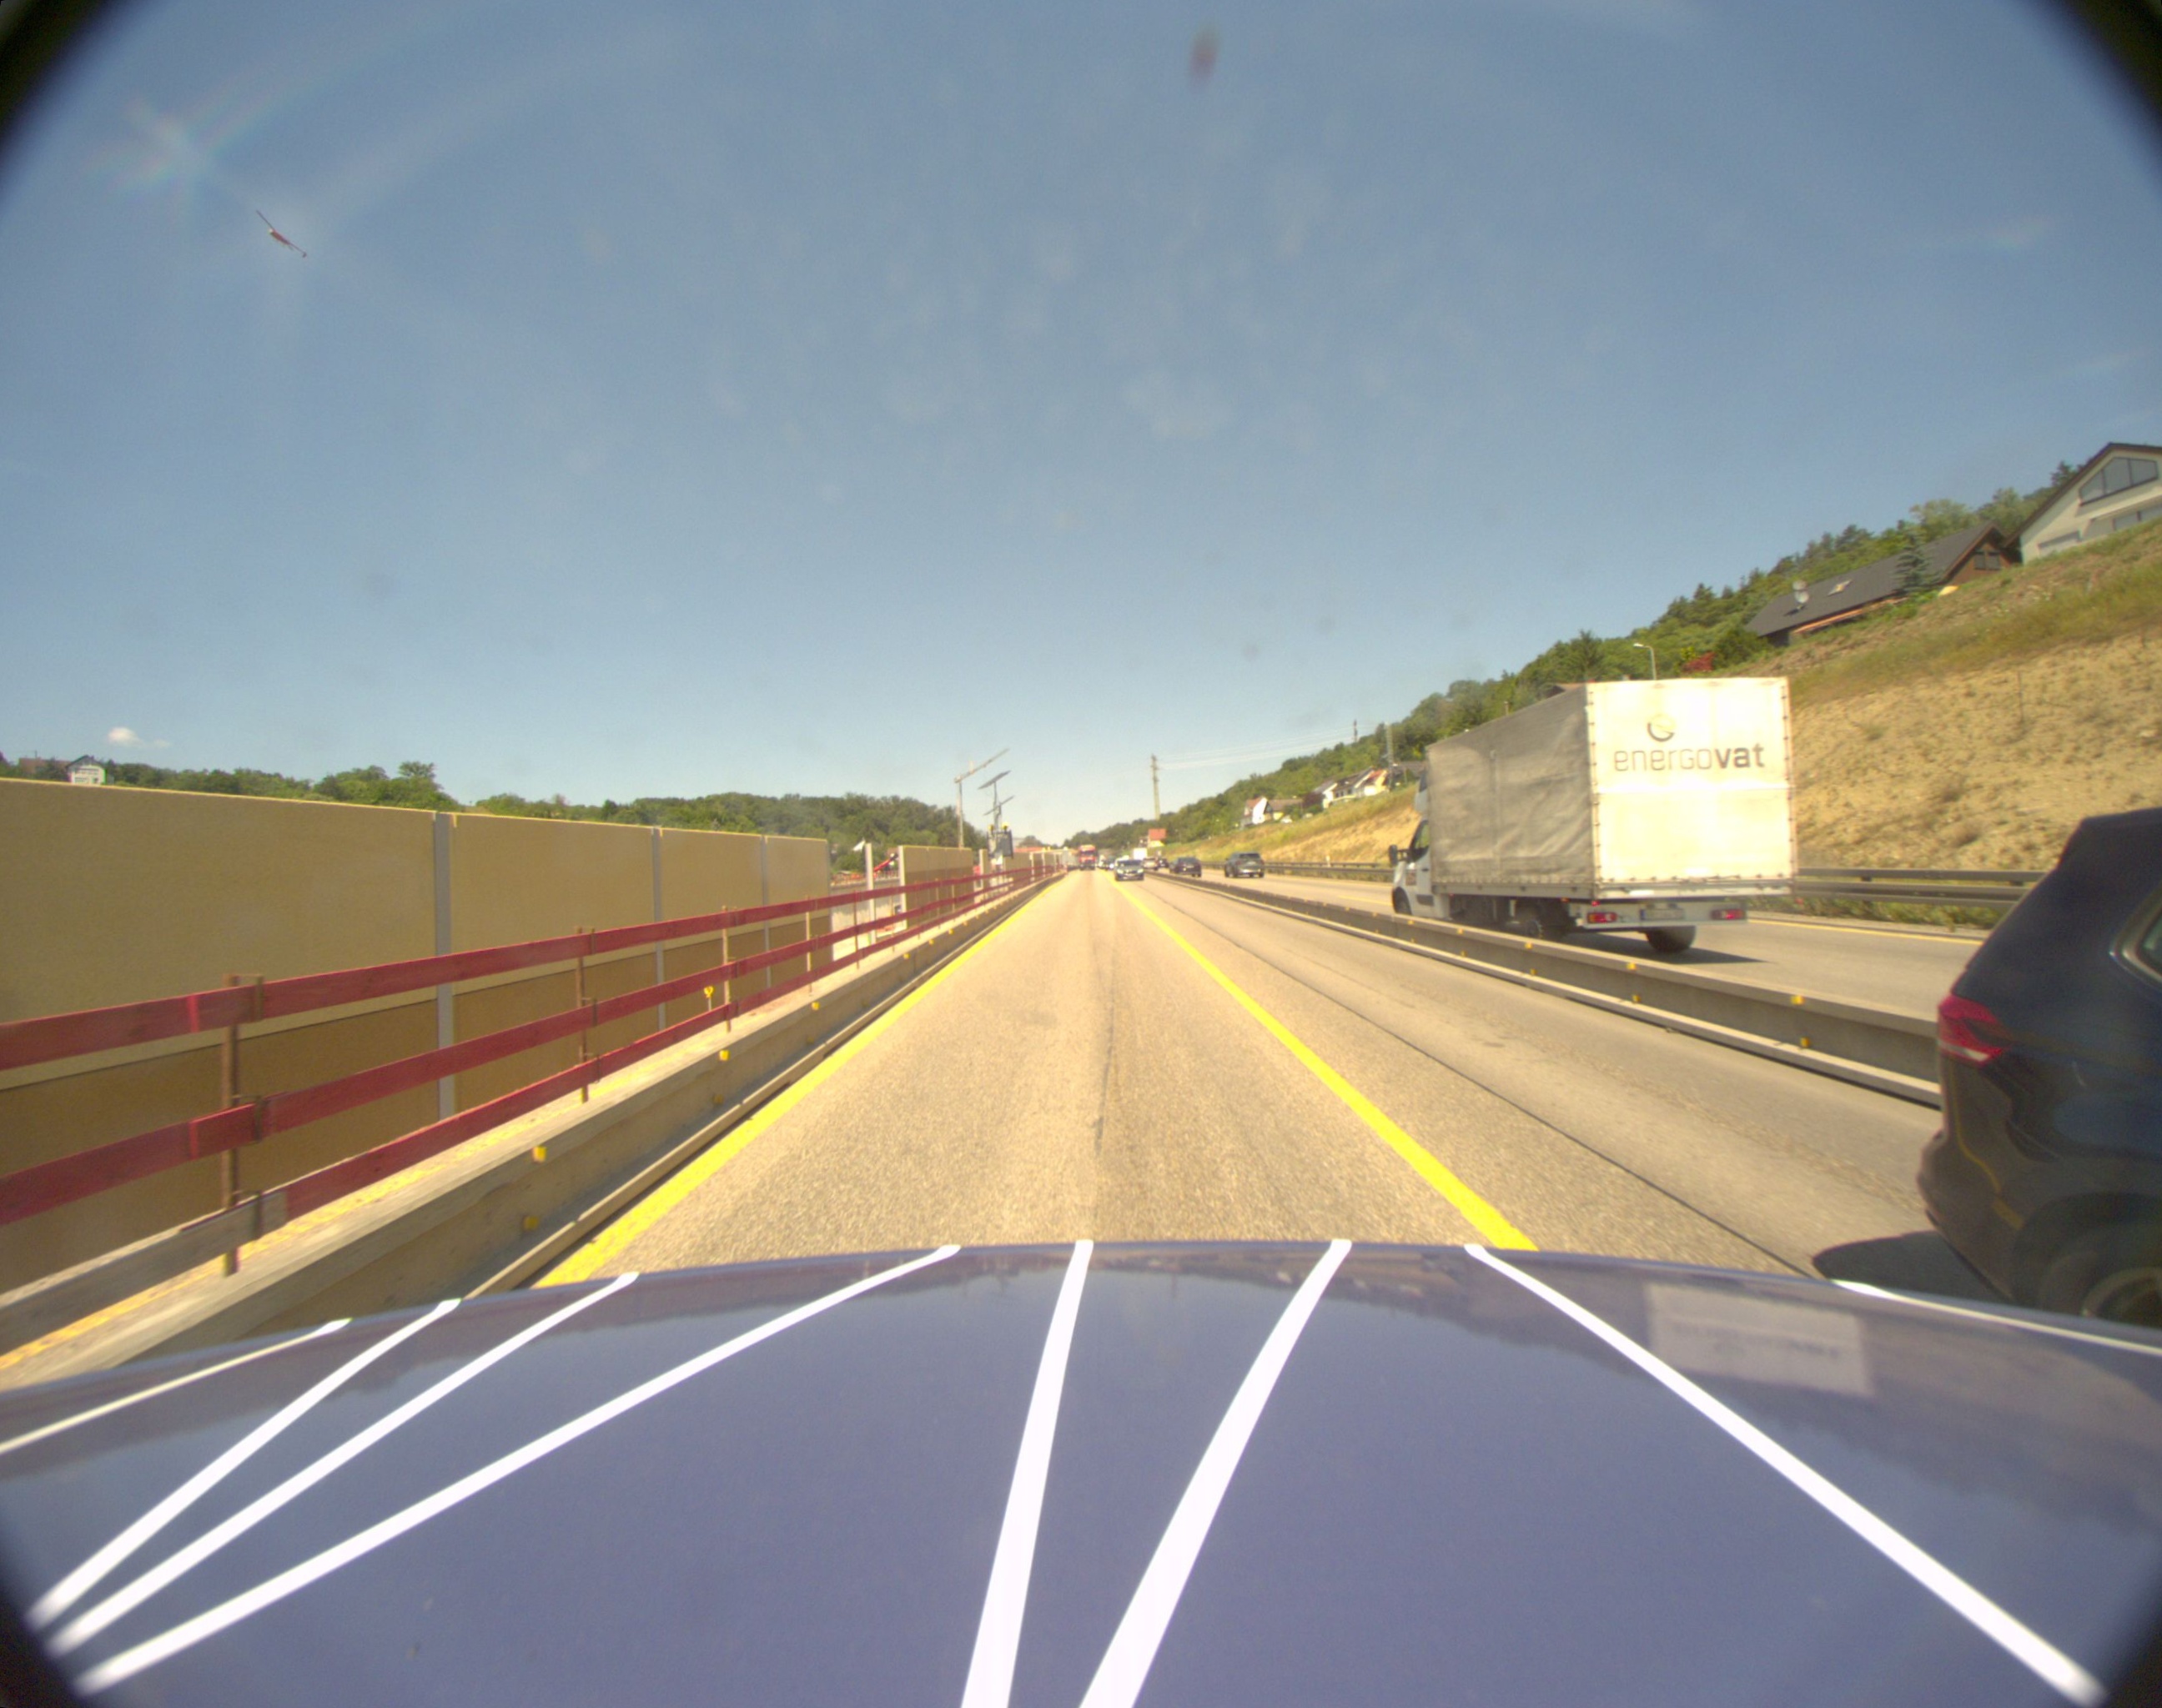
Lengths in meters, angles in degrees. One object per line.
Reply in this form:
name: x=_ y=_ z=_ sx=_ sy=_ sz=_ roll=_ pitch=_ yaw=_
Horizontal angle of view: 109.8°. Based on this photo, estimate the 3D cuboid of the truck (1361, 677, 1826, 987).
truck: x=7.022 y=-0.239 z=12.009 sx=2.544 sy=3.354 sz=7.038 roll=-2 pitch=0 yaw=1

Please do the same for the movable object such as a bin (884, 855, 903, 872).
movable object such as a bin: x=-36.176 y=1.859 z=146.525 sx=2.202 sy=3.065 sz=4.918 roll=-2 pitch=0 yaw=1

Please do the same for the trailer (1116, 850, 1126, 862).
trailer: x=13.546 y=0.836 z=259.259 sx=2.920 sy=3.915 sz=10.528 roll=-2 pitch=-1 yaw=1

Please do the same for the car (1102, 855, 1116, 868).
car: x=3.746 y=1.015 z=102.494 sx=1.780 sy=1.727 sz=4.337 roll=-2 pitch=-1 yaw=1

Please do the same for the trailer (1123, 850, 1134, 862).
trailer: x=12.656 y=0.602 z=204.254 sx=2.619 sy=2.983 sz=6.371 roll=-2 pitch=0 yaw=1

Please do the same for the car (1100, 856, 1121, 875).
car: x=2.744 y=1.077 z=70.994 sx=1.780 sy=1.682 sz=4.337 roll=-2 pitch=-1 yaw=1

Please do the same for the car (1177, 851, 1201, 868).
car: x=10.971 y=0.566 z=77.315 sx=1.689 sy=1.576 sz=5.126 roll=-2 pitch=0 yaw=1

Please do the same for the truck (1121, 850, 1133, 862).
truck: x=12.762 y=0.582 z=211.985 sx=2.733 sy=3.124 sz=8.960 roll=-2 pitch=0 yaw=1

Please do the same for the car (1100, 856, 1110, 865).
car: x=4.453 y=1.239 z=141.504 sx=1.780 sy=1.485 sz=4.337 roll=-2 pitch=-1 yaw=1

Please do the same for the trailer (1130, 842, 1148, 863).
trailer: x=12.242 y=-0.233 z=161.746 sx=2.793 sy=4.157 sz=13.980 roll=-2 pitch=0 yaw=1

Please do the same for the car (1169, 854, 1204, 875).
car: x=7.480 y=0.716 z=54.322 sx=1.801 sy=1.419 sz=4.950 roll=-2 pitch=0 yaw=1

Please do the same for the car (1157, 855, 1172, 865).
car: x=11.854 y=0.847 z=107.942 sx=1.714 sy=1.410 sz=4.242 roll=-2 pitch=0 yaw=1

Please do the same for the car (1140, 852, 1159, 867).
car: x=7.892 y=0.627 z=87.853 sx=1.849 sy=1.655 sz=4.688 roll=-2 pitch=0 yaw=1

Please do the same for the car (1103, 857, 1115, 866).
car: x=4.498 y=1.210 z=121.418 sx=1.780 sy=1.485 sz=4.337 roll=-2 pitch=-1 yaw=1

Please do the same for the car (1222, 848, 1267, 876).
car: x=10.519 y=0.503 z=49.231 sx=1.858 sy=1.662 sz=4.668 roll=-2 pitch=0 yaw=1

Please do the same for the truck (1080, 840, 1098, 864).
truck: x=1.427 y=-0.212 z=123.826 sx=2.605 sy=3.703 sz=10.538 roll=-2 pitch=-1 yaw=1

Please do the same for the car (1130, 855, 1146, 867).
car: x=7.866 y=0.980 z=105.301 sx=1.960 sy=1.490 sz=5.090 roll=-2 pitch=0 yaw=1

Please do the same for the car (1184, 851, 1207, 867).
car: x=11.588 y=0.499 z=77.024 sx=1.780 sy=1.485 sz=4.337 roll=-2 pitch=-1 yaw=1

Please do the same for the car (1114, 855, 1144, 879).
car: x=3.203 y=0.887 z=50.933 sx=1.780 sy=1.447 sz=4.337 roll=-2 pitch=-1 yaw=1
